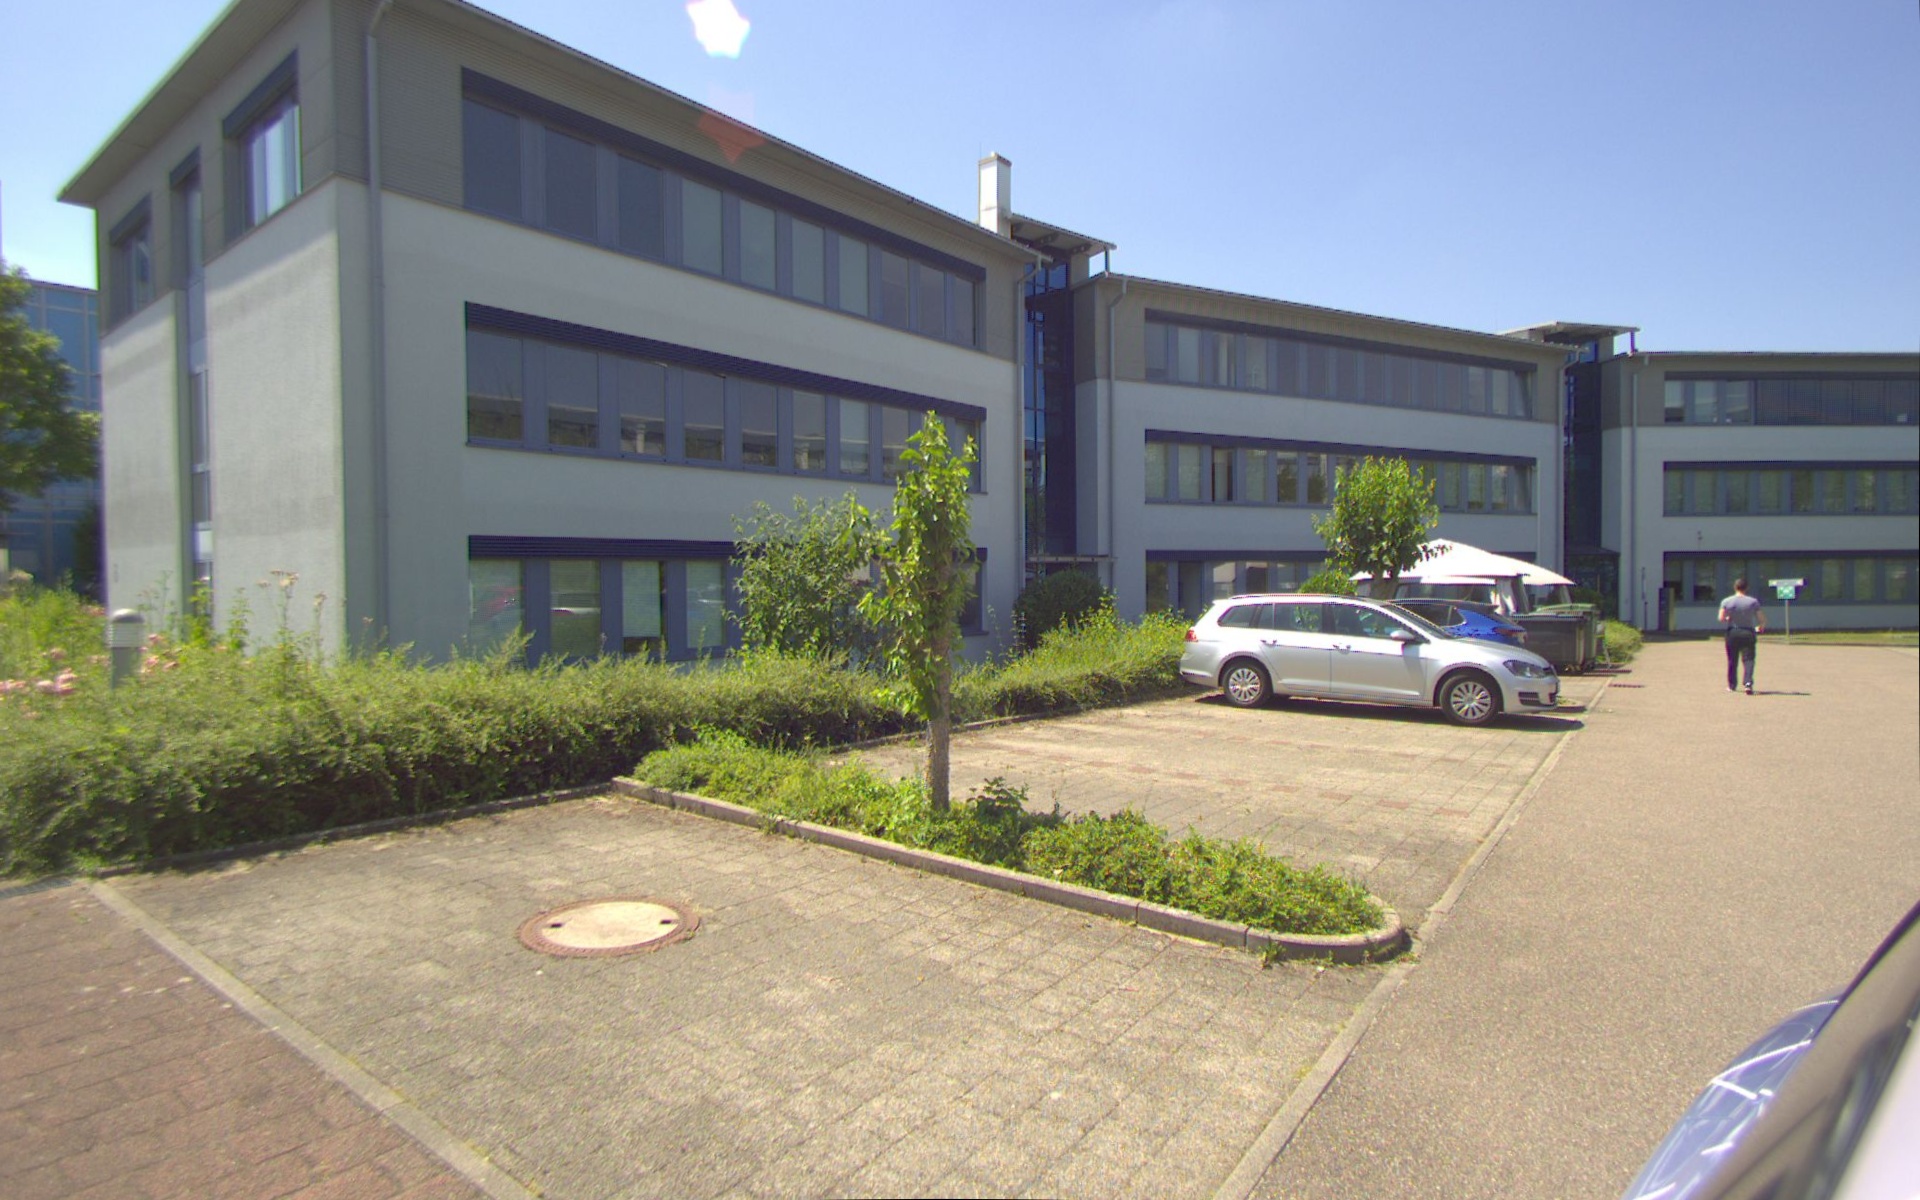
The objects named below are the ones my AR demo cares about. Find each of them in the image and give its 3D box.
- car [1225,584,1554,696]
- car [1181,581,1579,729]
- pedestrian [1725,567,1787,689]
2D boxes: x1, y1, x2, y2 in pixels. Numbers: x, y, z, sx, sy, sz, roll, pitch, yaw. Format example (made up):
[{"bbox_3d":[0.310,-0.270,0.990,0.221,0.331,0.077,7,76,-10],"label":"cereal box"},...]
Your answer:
[{"bbox_3d":[6.792,0.525,16.232,4.585,1.512,1.833,1,1,36],"label":"car"},{"bbox_3d":[5.244,0.560,12.902,4.400,1.539,1.833,1,1,36],"label":"car"},{"bbox_3d":[12.040,0.405,15.314,0.695,1.779,0.766,-1,0,39],"label":"pedestrian"}]
